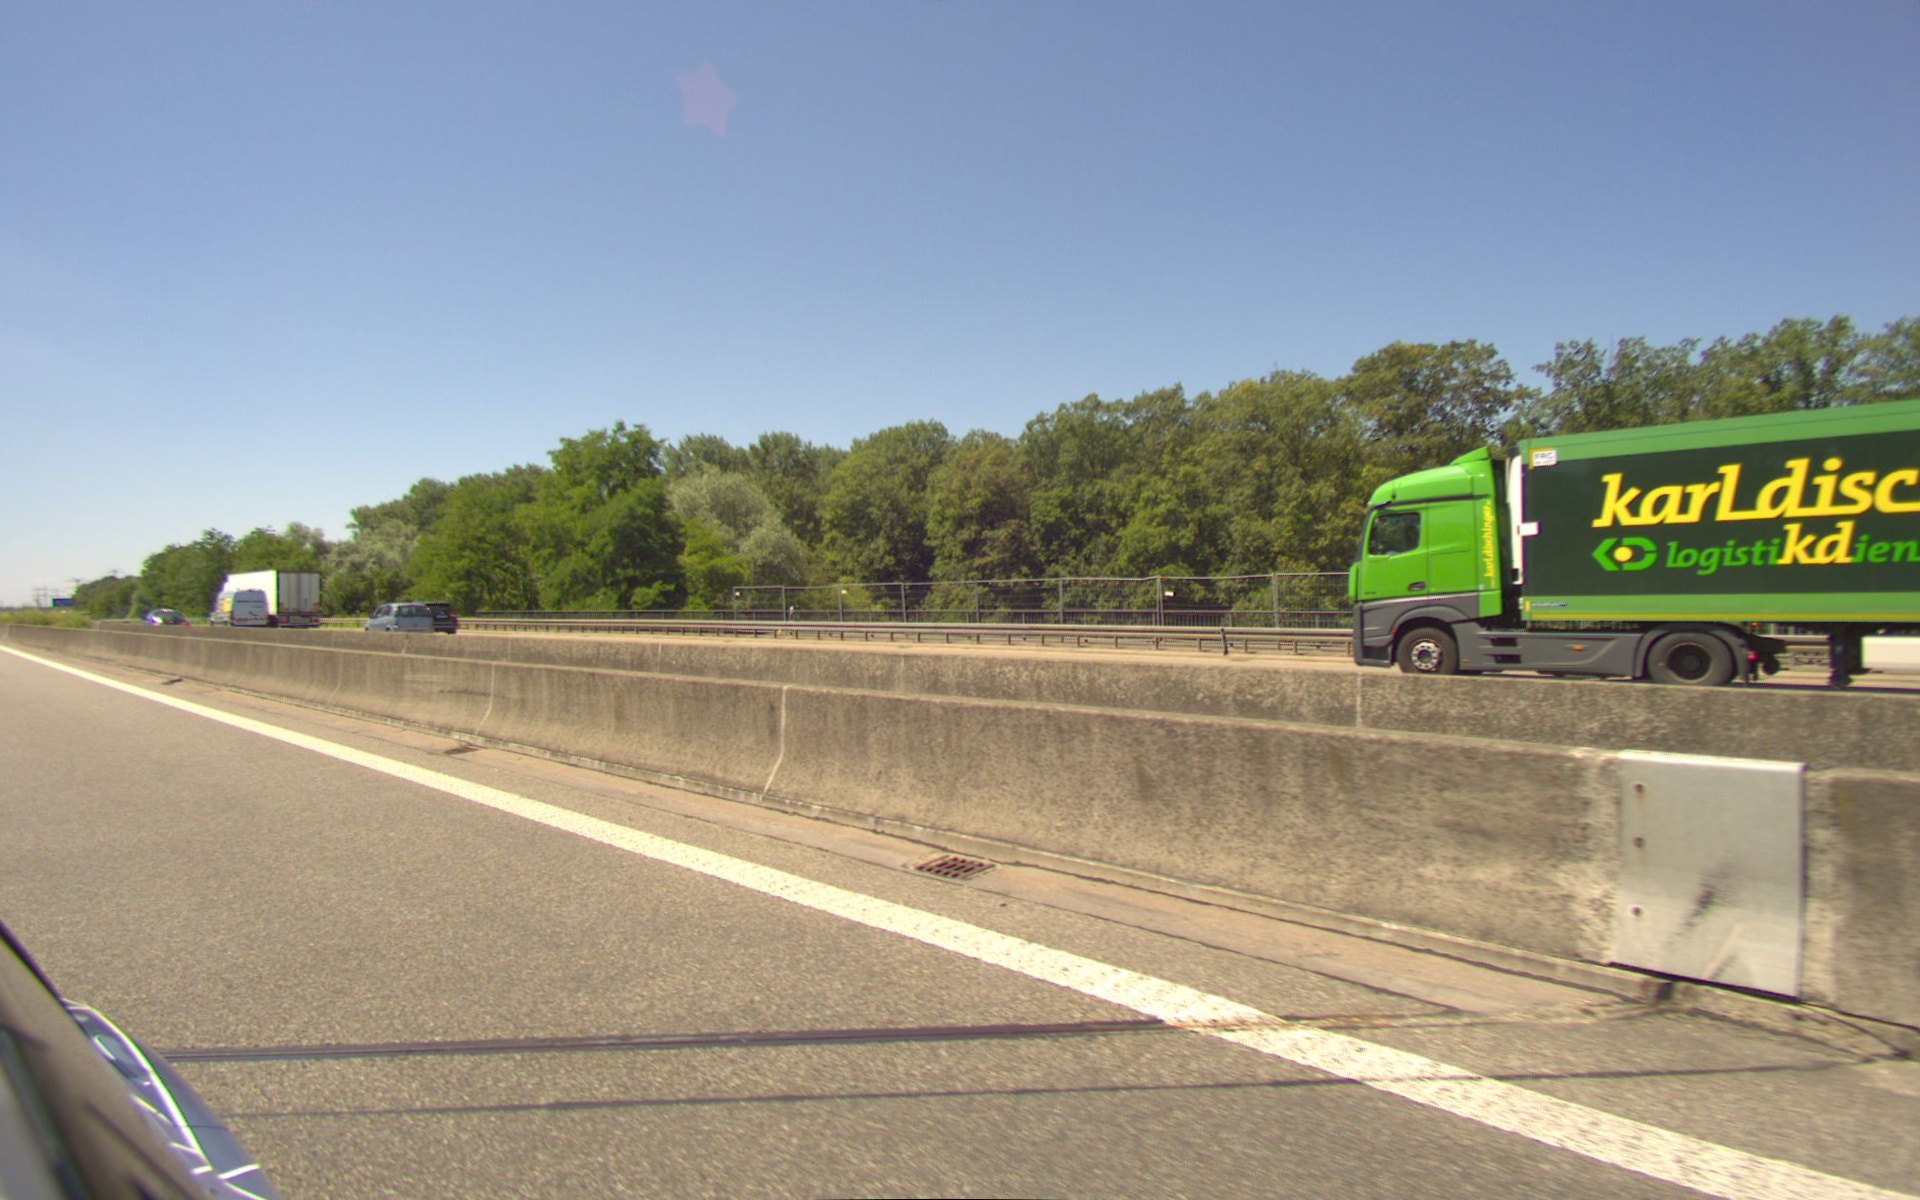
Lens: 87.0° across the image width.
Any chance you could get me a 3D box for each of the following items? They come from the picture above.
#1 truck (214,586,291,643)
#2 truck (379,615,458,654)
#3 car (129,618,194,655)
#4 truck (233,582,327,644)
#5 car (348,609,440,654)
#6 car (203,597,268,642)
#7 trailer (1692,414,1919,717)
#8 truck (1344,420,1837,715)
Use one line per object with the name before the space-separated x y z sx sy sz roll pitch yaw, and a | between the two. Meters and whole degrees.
truck | -52.376 1.125 74.832 8.287 4.007 3.015 -2 -2 43
truck | -27.017 1.682 50.439 4.741 1.814 1.972 -1 -1 42
car | -41.638 1.874 52.749 3.999 1.863 1.972 -1 -1 42
truck | -47.195 0.966 70.020 11.149 4.007 3.015 -2 -2 43
car | -23.368 1.278 41.727 4.538 1.725 1.978 -1 -1 42
car | -43.961 1.196 61.374 6.128 2.588 1.972 -1 -1 42
trailer | 15.915 -0.478 11.663 11.864 3.892 2.892 -1 -1 42
truck | 10.238 -0.377 16.915 6.499 3.971 2.890 -2 -2 44
